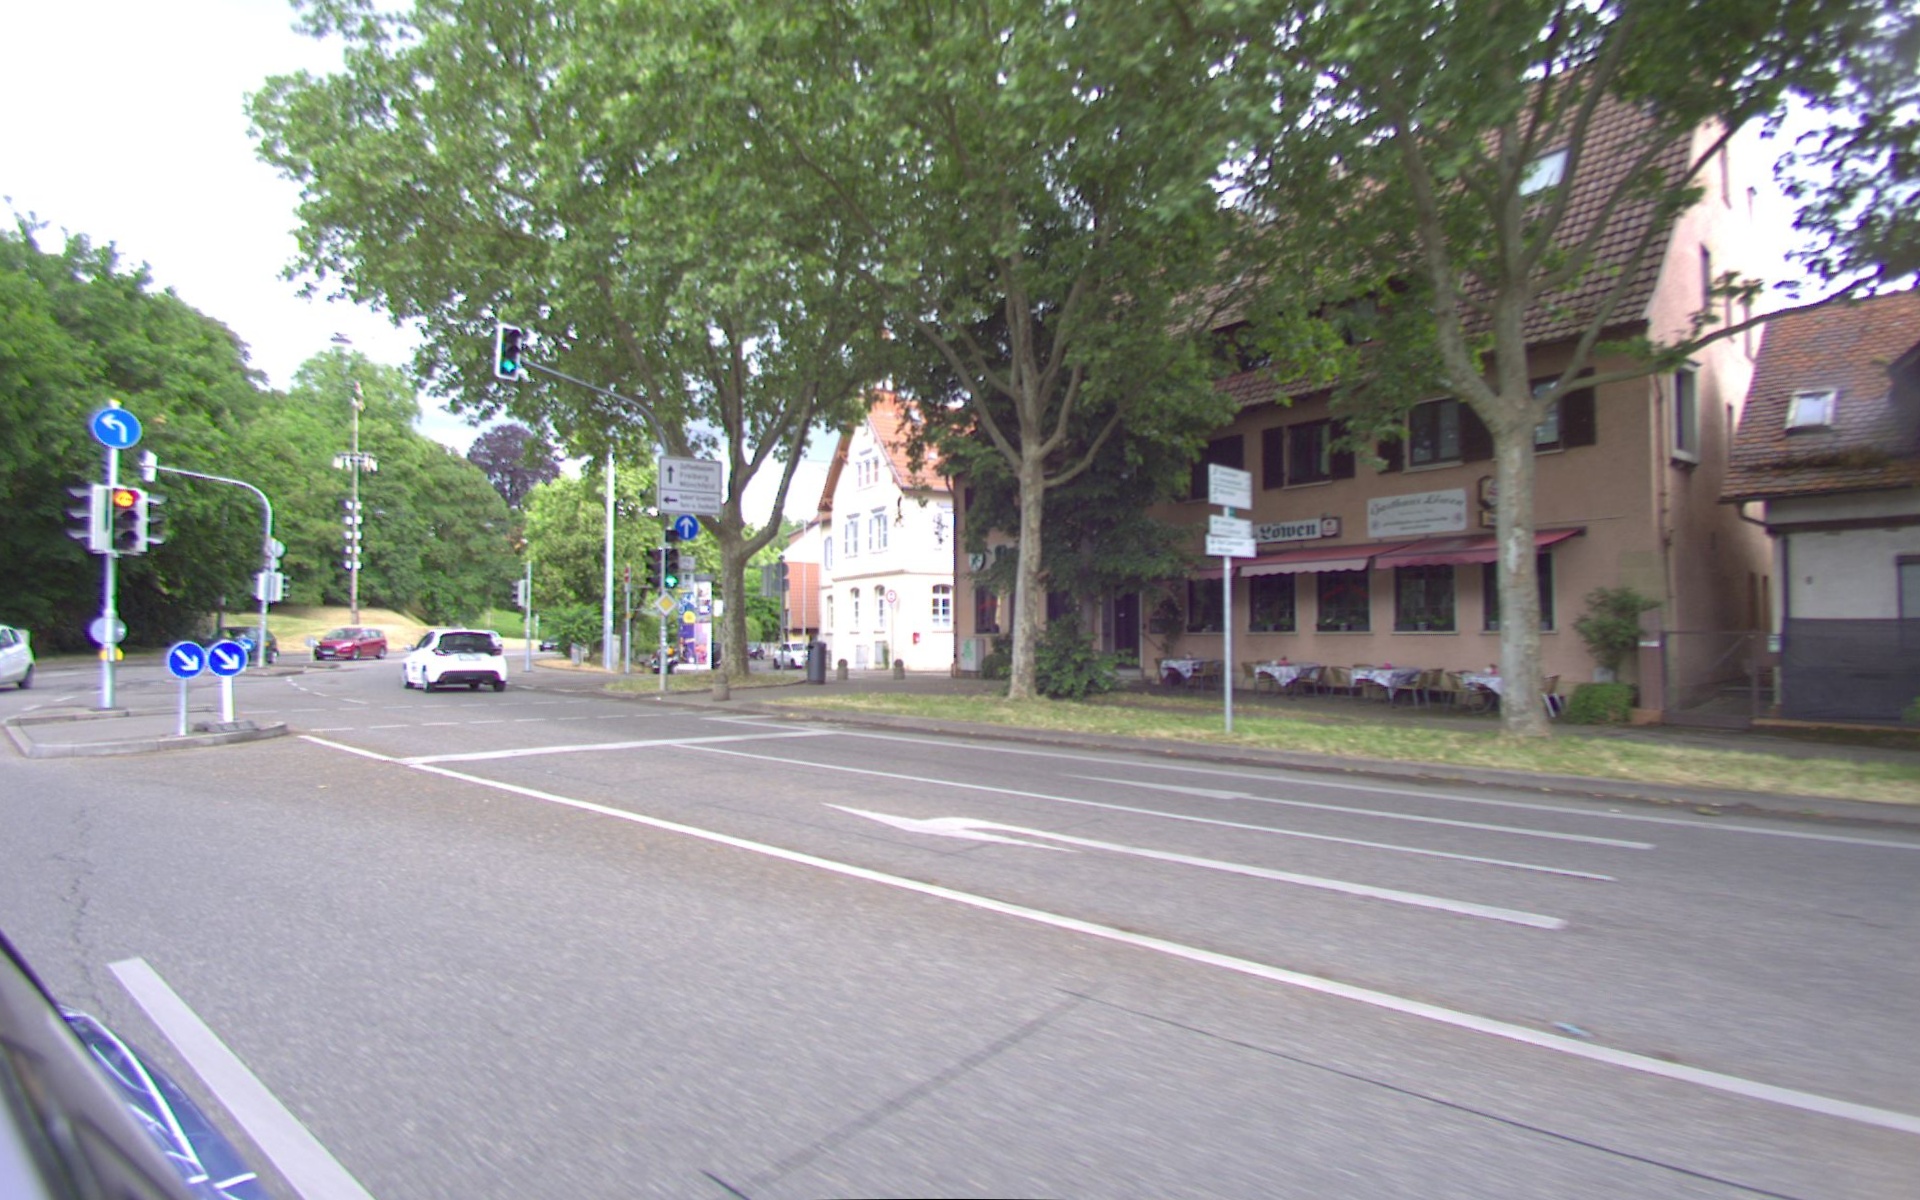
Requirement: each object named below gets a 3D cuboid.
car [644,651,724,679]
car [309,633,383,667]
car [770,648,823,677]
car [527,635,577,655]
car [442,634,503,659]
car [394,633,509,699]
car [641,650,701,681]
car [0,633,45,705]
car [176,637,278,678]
[{"bbox_3d":[-13.990,3.276,51.423,3.574,1.364,1.601,2,-3,-43],"label":"car"},{"bbox_3d":[-30.981,2.483,51.222,1.650,1.654,4.107,1,-2,-7],"label":"car"},{"bbox_3d":[-9.318,3.521,57.481,1.626,1.503,3.491,2,-3,-34],"label":"car"},{"bbox_3d":[-31.315,3.466,77.812,1.834,1.469,3.990,0,-2,8],"label":"car"},{"bbox_3d":[-31.814,3.009,66.143,1.762,1.581,3.993,0,-2,5],"label":"car"},{"bbox_3d":[-12.384,1.547,24.508,1.739,1.477,4.030,3,-3,-37],"label":"car"},{"bbox_3d":[-13.017,2.945,45.727,1.465,1.320,3.393,1,-4,5],"label":"car"},{"bbox_3d":[-21.279,1.480,21.583,1.601,1.520,4.013,1,-2,-27],"label":"car"},{"bbox_3d":[-29.038,2.235,40.253,1.703,1.532,4.008,1,-2,-11],"label":"car"}]
